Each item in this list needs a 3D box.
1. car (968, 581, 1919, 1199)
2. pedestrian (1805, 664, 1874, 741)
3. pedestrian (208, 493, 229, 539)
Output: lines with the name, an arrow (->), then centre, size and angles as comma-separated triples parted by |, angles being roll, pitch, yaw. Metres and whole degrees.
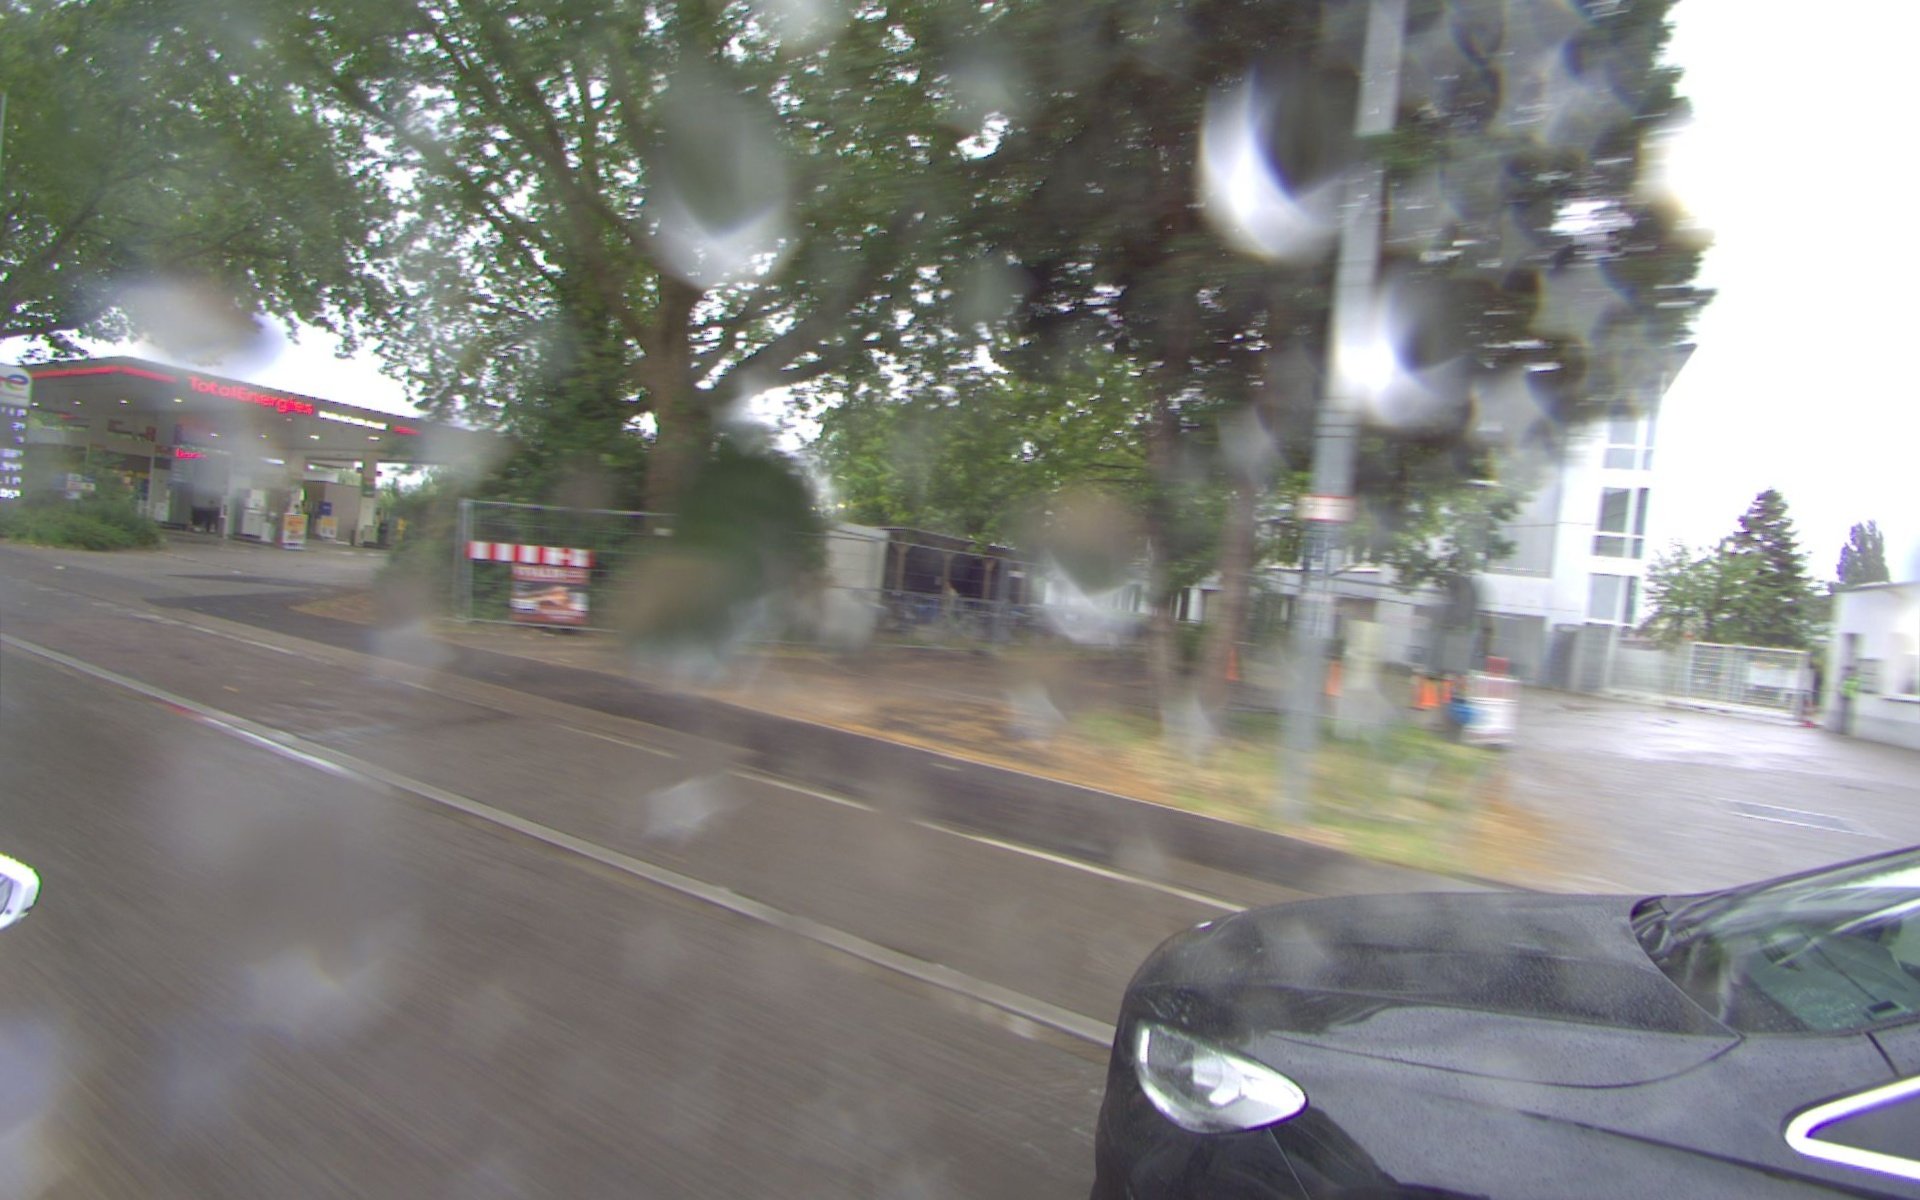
car -> 2.234, 0.973, 1.640 | 4.019, 1.543, 1.871 | 7, 1, 32
pedestrian -> 22.123, 2.556, 25.340 | 0.909, 1.758, 0.929 | 7, 2, 25
pedestrian -> -29.522, -3.331, 40.059 | 0.551, 1.748, 0.718 | 4, 2, -39
